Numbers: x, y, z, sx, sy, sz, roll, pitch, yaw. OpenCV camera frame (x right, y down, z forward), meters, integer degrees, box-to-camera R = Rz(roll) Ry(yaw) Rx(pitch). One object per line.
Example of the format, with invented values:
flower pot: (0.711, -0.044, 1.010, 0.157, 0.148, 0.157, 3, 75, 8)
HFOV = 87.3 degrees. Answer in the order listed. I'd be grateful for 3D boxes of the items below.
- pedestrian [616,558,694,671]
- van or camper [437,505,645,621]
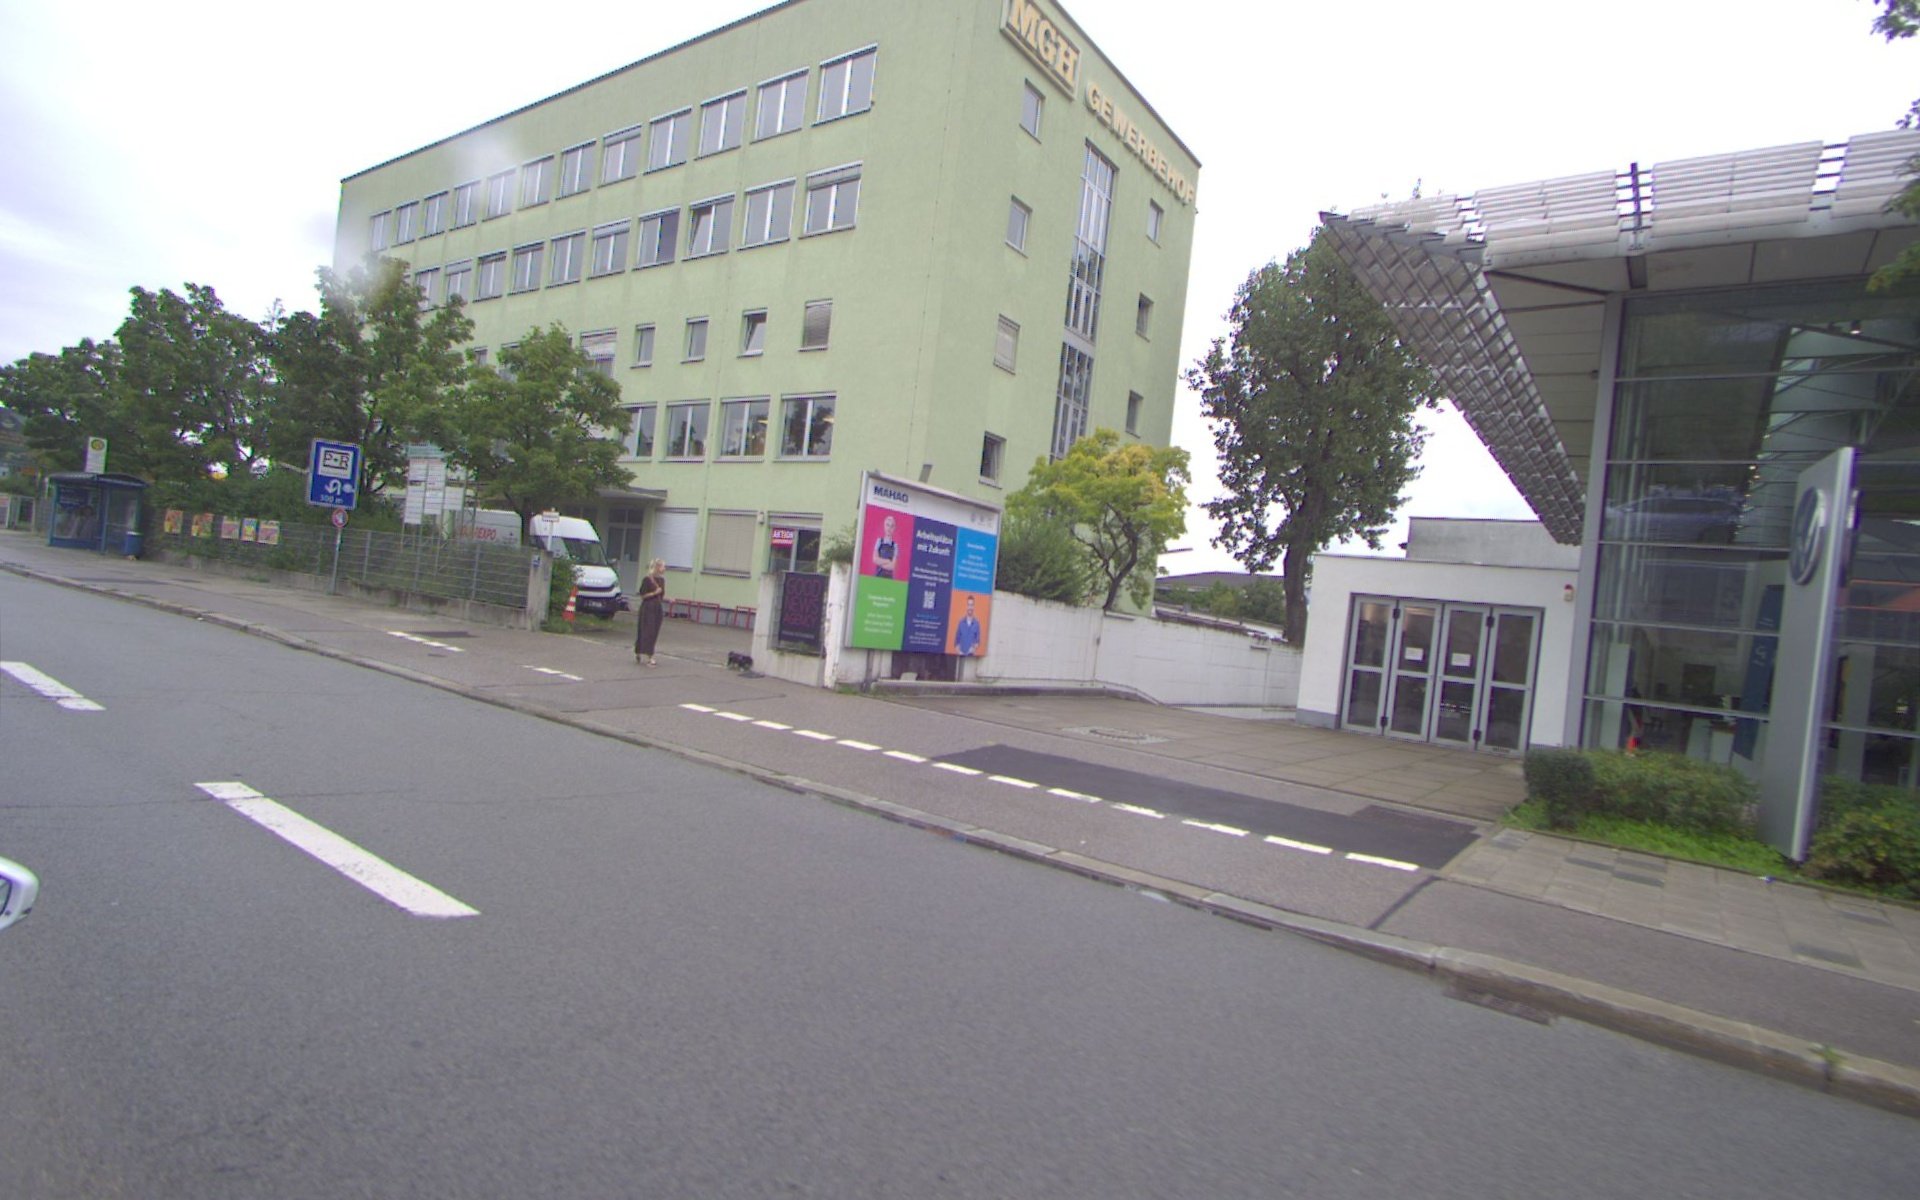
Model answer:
pedestrian: (-5.014, 0.228, 16.540, 0.882, 1.752, 0.757, 7, 4, 38)
van or camper: (-11.508, -1.100, 27.200, 7.288, 2.527, 2.121, 6, -1, 43)
